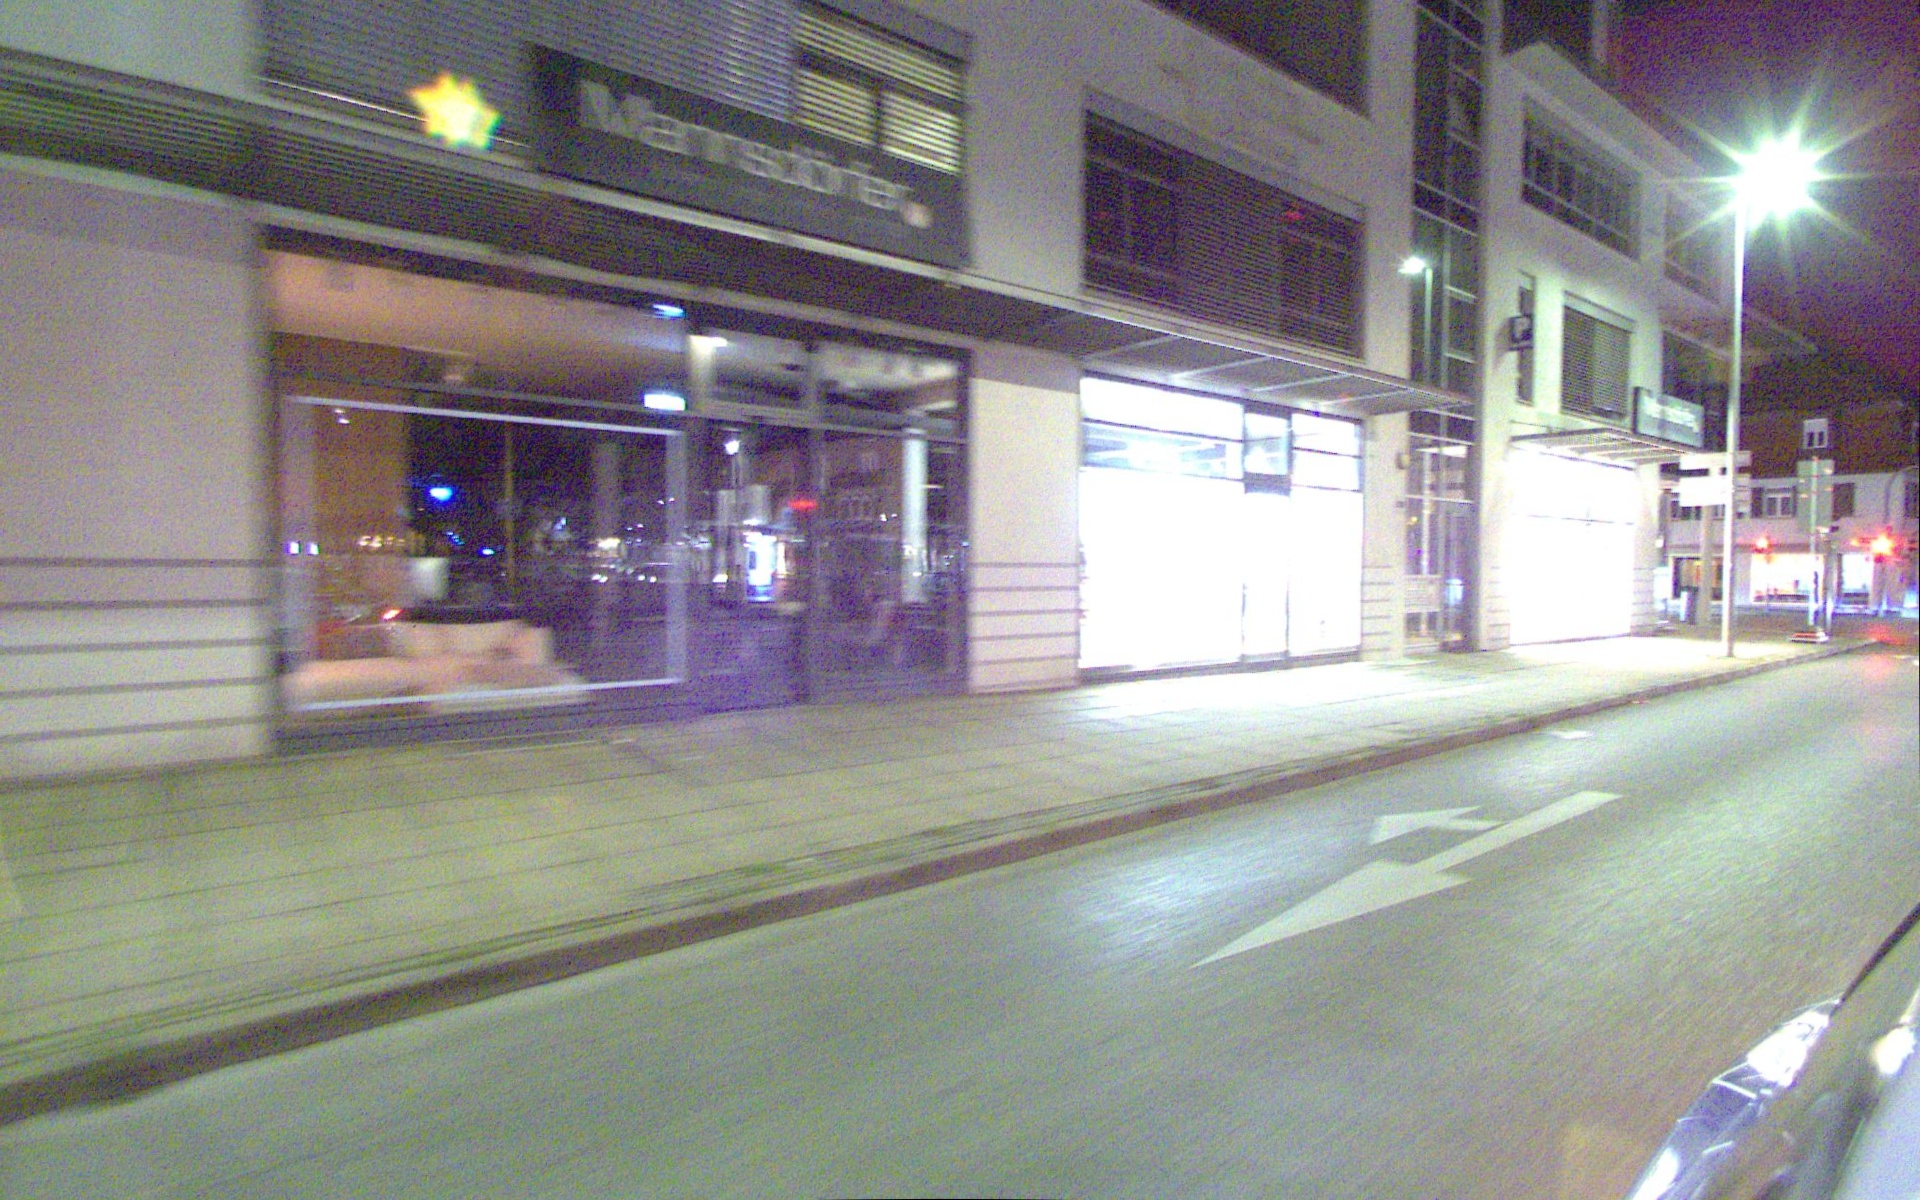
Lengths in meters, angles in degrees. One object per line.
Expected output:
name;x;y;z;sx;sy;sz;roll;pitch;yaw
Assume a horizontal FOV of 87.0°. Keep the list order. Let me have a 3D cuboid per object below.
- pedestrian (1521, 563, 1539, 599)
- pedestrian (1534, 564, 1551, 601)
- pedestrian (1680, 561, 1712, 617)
pedestrian;27.530;-0.907;48.904;0.556;1.738;0.567;-1;0;-34
pedestrian;27.894;-0.842;48.439;0.556;1.738;0.524;-1;0;-35
pedestrian;22.756;-0.334;31.288;0.634;1.703;0.541;-1;0;-18
